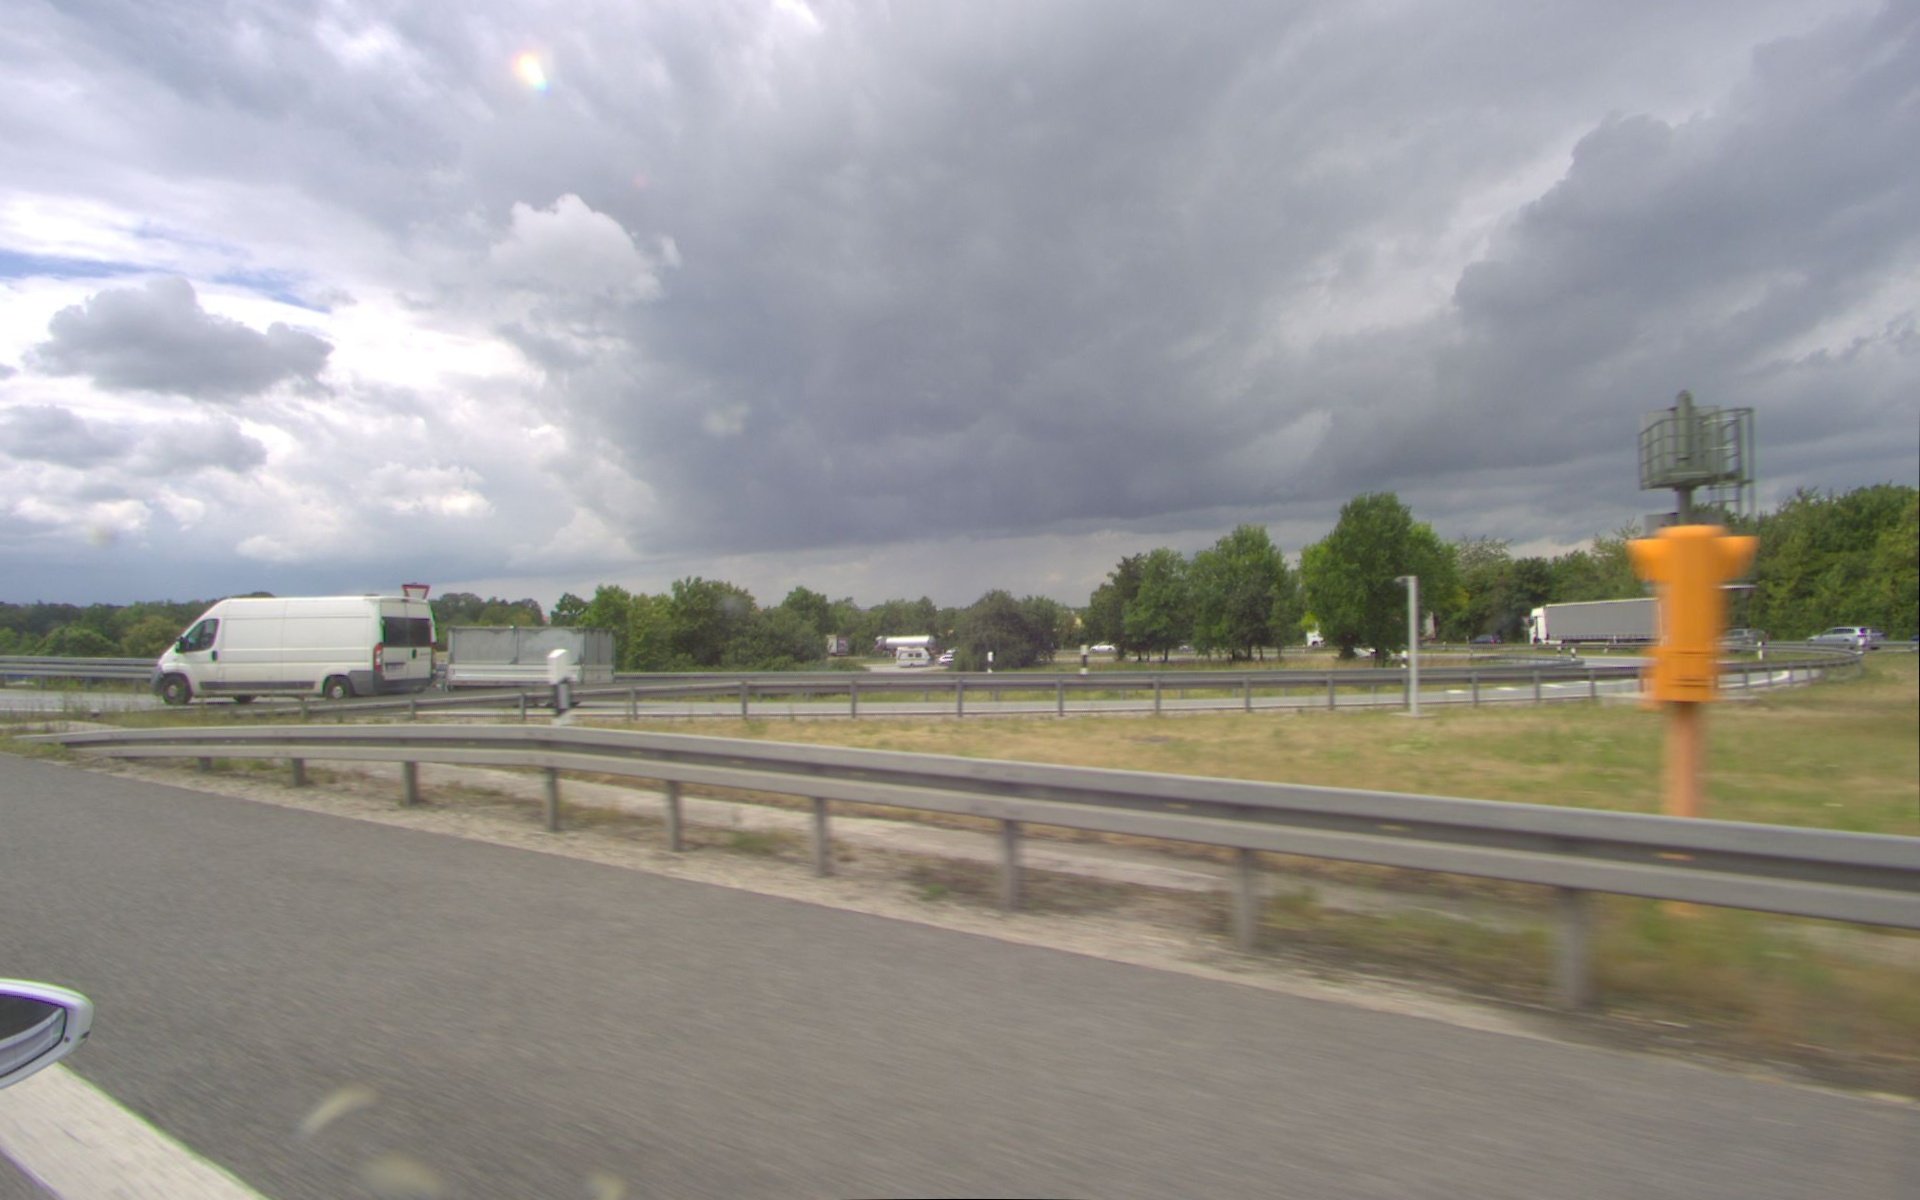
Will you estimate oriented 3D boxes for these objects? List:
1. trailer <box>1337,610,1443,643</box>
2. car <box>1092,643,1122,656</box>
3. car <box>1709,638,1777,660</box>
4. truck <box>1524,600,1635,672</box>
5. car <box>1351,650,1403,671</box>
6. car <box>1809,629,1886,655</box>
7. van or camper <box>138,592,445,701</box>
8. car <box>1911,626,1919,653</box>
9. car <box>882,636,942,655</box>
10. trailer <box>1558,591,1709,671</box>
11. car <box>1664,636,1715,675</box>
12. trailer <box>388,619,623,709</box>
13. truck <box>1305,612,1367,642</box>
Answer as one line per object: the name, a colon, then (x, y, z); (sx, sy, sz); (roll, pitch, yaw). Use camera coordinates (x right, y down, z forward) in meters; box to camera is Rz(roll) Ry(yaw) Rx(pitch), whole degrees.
trailer: (48.108, 3.043, 112.574); (3.087, 3.492, 11.640); (1, -2, -27)
car: (21.211, 7.084, 144.637); (3.959, 1.806, 1.887); (-2, -3, 44)
car: (55.733, 3.446, 71.385); (1.798, 1.505, 4.002); (0, -2, 1)
truck: (55.120, 3.247, 89.469); (3.989, 6.150, 8.981); (0, -2, -3)
car: (40.453, 5.884, 97.280); (1.775, 1.771, 4.501); (4, -3, -29)
car: (55.240, 2.618, 62.412); (1.540, 1.552, 4.001); (0, -2, 6)
van or camper: (-15.396, 1.060, 23.263); (5.824, 2.391, 2.232); (0, -2, 6)
car: (53.930, 2.150, 54.281); (1.471, 1.487, 4.000); (0, -2, 11)
car: (-8.313, 7.682, 170.938); (3.421, 3.118, 11.646); (2, -3, -45)
trailer: (55.430, 2.583, 83.114); (3.940, 6.165, 12.100); (0, -2, -3)
car: (34.454, 2.654, 47.267); (1.778, 1.771, 3.974); (-3, -4, 38)
trailer: (-10.253, 1.422, 22.818); (4.419, 1.865, 2.001); (1, -2, 4)
truck: (44.667, 3.239, 119.278); (3.074, 3.543, 6.578); (1, -2, -27)
